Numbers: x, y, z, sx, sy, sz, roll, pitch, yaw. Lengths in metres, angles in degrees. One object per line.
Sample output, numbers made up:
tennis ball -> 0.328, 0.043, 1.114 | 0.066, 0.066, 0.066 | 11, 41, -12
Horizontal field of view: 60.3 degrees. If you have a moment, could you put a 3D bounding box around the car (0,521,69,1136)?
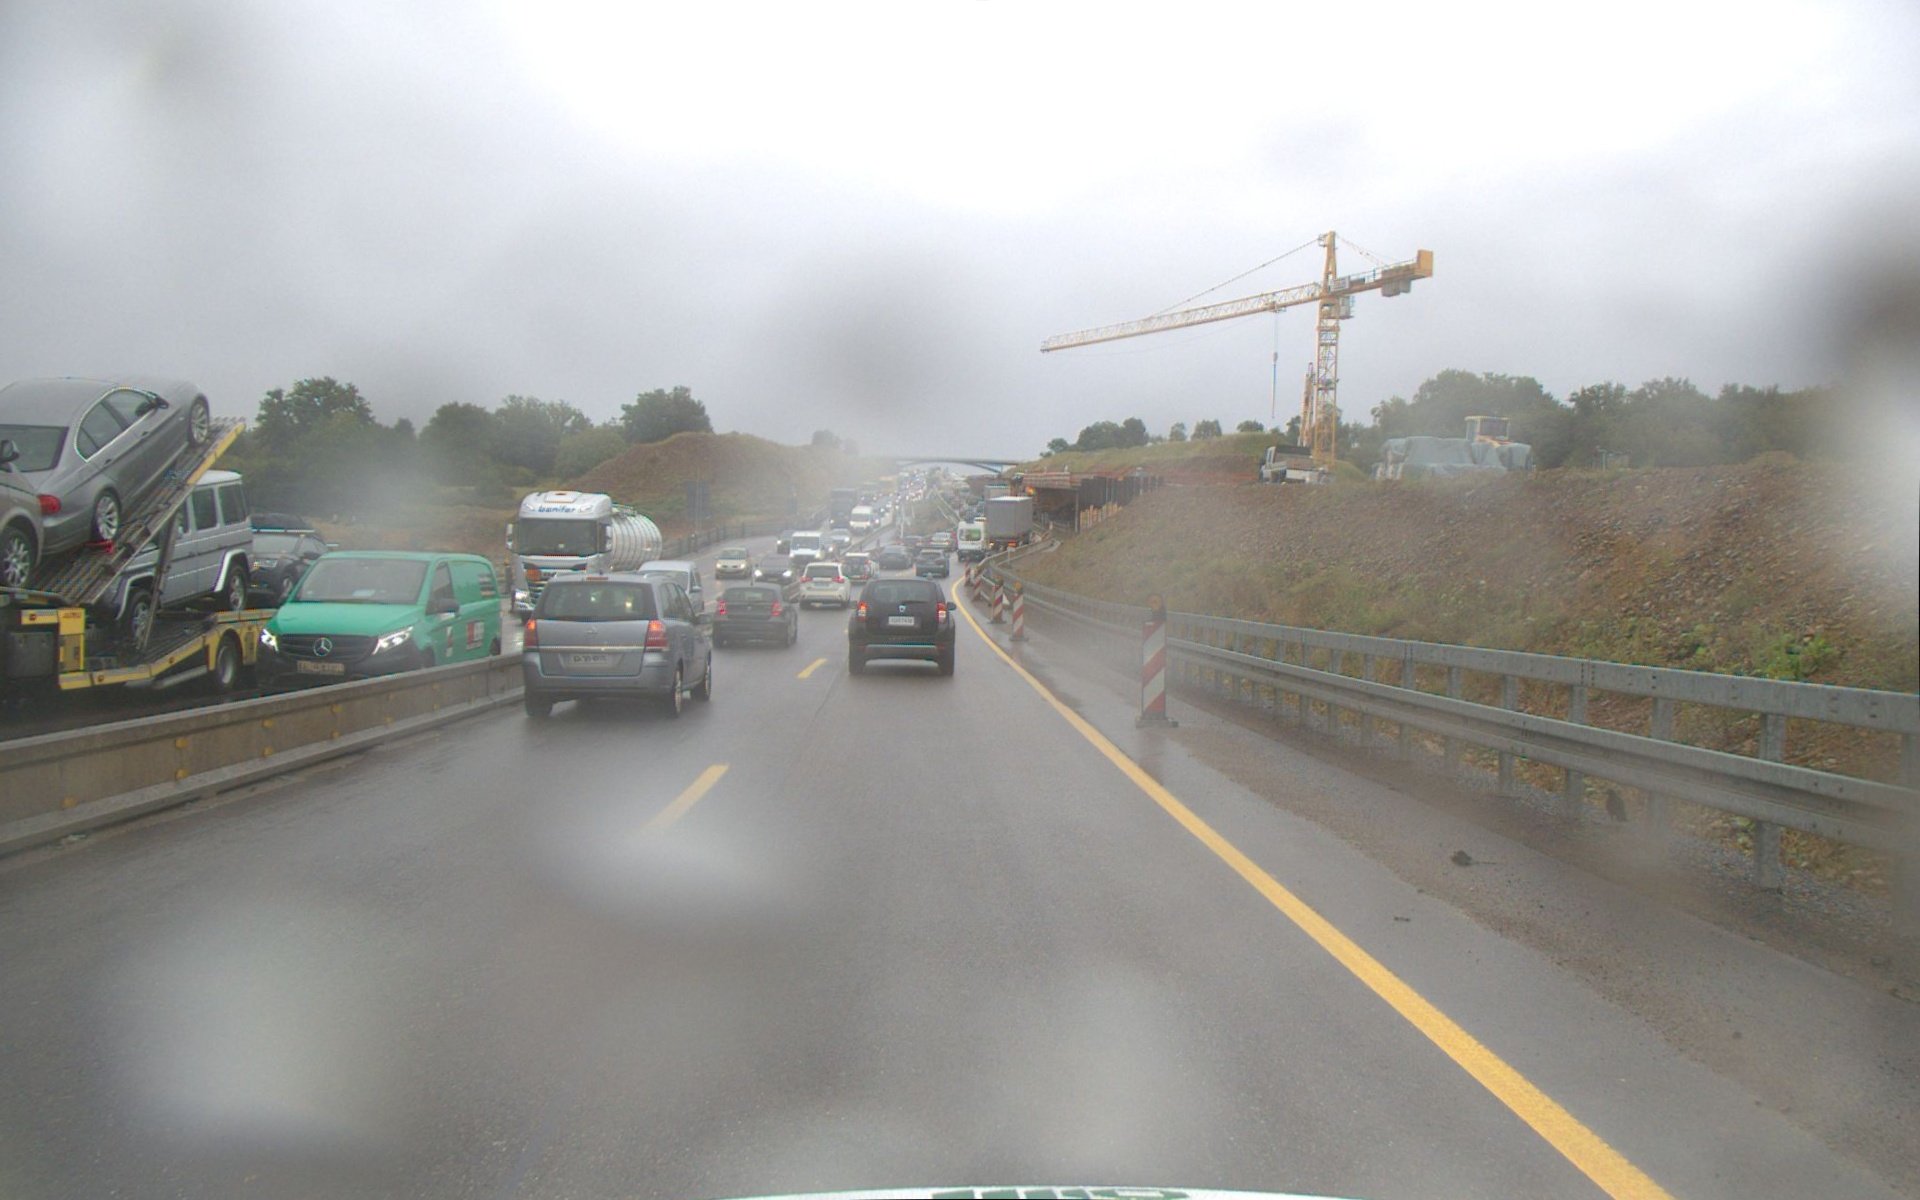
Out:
car -> -3.364, 0.633, 2.530 | 1.779, 1.628, 4.307 | 1, 1, -2

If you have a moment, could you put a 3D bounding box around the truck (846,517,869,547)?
truck -> -9.891, -6.591, 160.167 | 2.104, 2.760, 6.015 | 1, 2, -2

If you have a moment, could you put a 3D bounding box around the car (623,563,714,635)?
car -> -7.766, -0.056, 44.367 | 1.828, 1.831, 4.161 | 1, 1, -2

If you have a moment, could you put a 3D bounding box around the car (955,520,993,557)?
car -> 1.051, -4.399, 119.817 | 1.951, 2.527, 4.986 | 1, 0, 10

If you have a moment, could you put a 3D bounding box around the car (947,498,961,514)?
car -> -0.905, -13.999, 246.202 | 1.953, 2.049, 3.998 | 1, 0, -2

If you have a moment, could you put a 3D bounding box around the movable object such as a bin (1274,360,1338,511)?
movable object such as a bin -> 27.541, -12.835, 131.311 | 4.618, 11.031, 10.312 | 1, 0, 13

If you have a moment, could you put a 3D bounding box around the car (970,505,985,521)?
car -> 2.441, -12.284, 232.736 | 1.953, 2.049, 3.998 | 1, 0, -2

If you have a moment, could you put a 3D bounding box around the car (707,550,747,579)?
car -> -12.846, -1.968, 91.318 | 1.752, 1.573, 3.999 | 1, 1, -2

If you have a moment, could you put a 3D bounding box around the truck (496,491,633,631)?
truck -> -11.257, -1.086, 47.638 | 2.568, 3.741, 6.592 | 1, 1, -2

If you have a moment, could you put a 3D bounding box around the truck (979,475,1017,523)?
truck -> 4.452, -12.026, 198.828 | 3.727, 5.130, 12.916 | 1, 0, -2

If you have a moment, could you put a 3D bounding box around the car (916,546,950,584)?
car -> -1.590, -2.032, 97.237 | 1.953, 2.200, 4.140 | 1, 0, -1

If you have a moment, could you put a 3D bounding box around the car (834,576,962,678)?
car -> -1.032, 0.413, 28.796 | 2.039, 1.628, 4.140 | 1, 0, -1

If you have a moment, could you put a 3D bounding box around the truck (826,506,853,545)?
truck -> -12.644, -7.872, 174.288 | 2.589, 4.038, 9.211 | 1, 3, -3

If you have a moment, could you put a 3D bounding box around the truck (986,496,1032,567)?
truck -> 4.159, -5.607, 137.927 | 3.036, 5.520, 9.450 | 1, 0, 6

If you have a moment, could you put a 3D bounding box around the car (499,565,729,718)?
car -> -4.036, 0.432, 19.999 | 1.953, 1.628, 4.140 | 1, 0, -1

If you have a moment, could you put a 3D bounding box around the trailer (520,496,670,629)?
trailer -> -11.459, -1.139, 53.123 | 2.568, 3.741, 11.999 | 1, 1, -2

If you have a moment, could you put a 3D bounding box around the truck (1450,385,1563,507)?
truck -> 21.629, -6.009, 65.759 | 2.325, 4.292, 5.977 | 1, 0, -2

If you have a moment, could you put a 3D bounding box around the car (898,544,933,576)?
car -> -3.172, -2.872, 118.974 | 1.951, 2.200, 4.144 | 1, 0, 6

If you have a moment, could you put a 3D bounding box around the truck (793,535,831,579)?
truck -> -9.080, -2.604, 101.916 | 2.037, 2.621, 5.960 | 1, 0, -2

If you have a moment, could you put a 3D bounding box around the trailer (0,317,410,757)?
trailer -> -10.441, -0.642, 20.175 | 2.694, 4.113, 15.355 | 1, 1, -1

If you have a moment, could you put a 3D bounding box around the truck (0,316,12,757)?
truck -> -10.262, -0.578, 12.534 | 2.694, 4.133, 6.146 | 1, 0, -2

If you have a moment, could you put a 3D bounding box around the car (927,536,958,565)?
car -> -1.394, -3.932, 132.626 | 1.951, 2.200, 4.144 | 1, 0, 7

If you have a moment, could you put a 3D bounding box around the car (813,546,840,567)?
car -> -9.717, -3.172, 120.802 | 1.751, 1.565, 4.311 | 0, 1, -2

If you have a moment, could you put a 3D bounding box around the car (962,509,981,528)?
car -> 1.318, -9.169, 186.606 | 1.953, 2.048, 4.000 | 0, 2, -2

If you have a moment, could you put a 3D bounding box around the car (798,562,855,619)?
car -> -4.970, -0.363, 62.000 | 1.953, 2.049, 3.892 | 1, 0, -2

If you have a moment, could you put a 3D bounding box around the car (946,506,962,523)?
car -> -0.783, -10.768, 208.888 | 1.953, 2.048, 4.000 | 0, 2, -2

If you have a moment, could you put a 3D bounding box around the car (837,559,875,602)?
car -> -5.513, -1.020, 87.325 | 1.954, 2.200, 4.137 | 1, 0, -5

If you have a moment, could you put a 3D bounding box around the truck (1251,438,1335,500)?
truck -> 16.782, -6.571, 83.724 | 2.592, 2.599, 6.982 | 1, 0, -2

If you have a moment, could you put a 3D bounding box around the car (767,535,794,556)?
car -> -13.829, -4.197, 127.841 | 1.751, 1.565, 4.311 | 0, 1, -2

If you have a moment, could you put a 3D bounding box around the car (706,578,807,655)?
car -> -4.540, 0.335, 37.477 | 1.954, 1.628, 4.138 | 1, 0, -3

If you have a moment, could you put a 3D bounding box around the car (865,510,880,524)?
car -> -11.104, -10.479, 209.314 | 1.702, 1.713, 5.552 | 1, 3, -1

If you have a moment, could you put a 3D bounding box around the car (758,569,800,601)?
car -> -8.904, -0.770, 81.608 | 1.737, 1.530, 4.677 | 0, 1, -2

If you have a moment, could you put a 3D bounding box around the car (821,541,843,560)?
car -> -10.615, -4.150, 137.142 | 1.643, 1.550, 4.344 | 0, 2, -2

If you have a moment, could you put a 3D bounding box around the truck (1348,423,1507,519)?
truck -> 17.131, -4.659, 61.370 | 3.326, 2.925, 8.960 | 1, 0, 0

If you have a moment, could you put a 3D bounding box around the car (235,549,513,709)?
car -> -7.256, 0.308, 21.033 | 1.953, 1.790, 4.686 | 1, 0, -2

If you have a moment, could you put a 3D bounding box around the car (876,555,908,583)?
car -> -4.371, -1.985, 107.066 | 1.953, 1.792, 3.814 | 1, 0, -1
